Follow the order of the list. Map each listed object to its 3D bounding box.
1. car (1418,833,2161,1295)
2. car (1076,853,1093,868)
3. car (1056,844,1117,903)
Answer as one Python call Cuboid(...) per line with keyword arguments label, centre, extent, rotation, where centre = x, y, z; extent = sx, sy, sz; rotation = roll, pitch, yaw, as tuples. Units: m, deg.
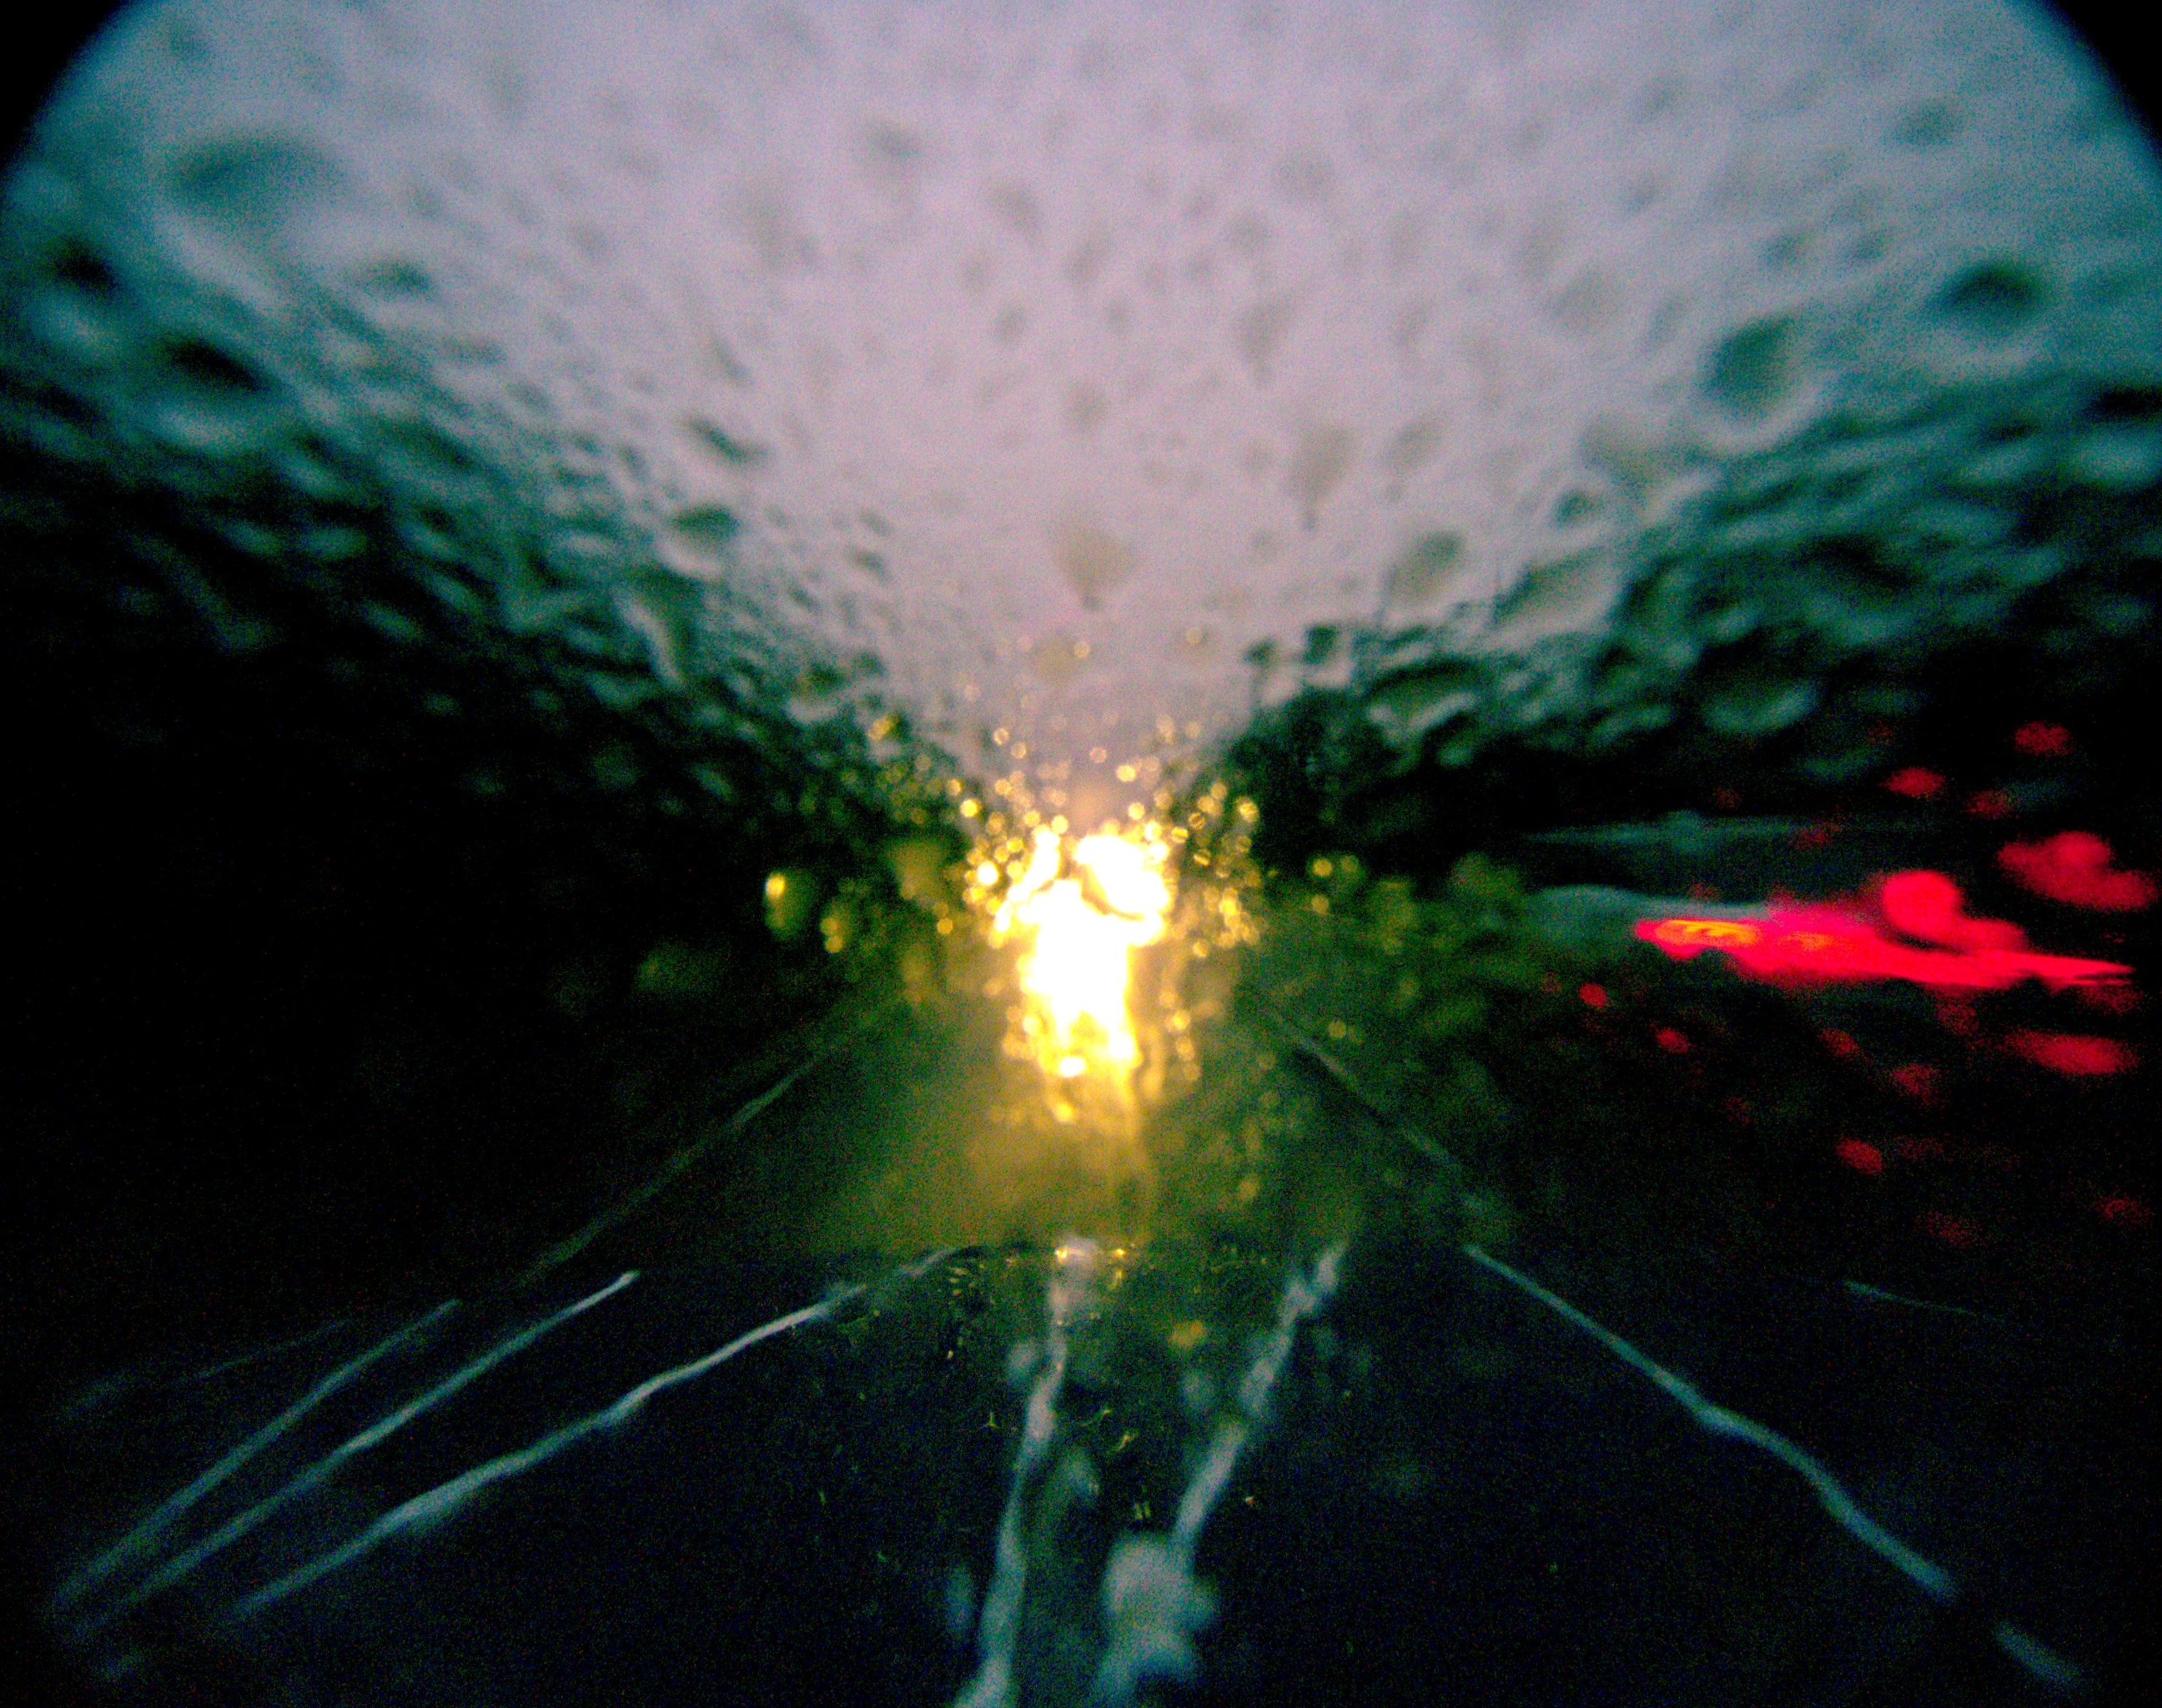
Cuboid(label="car", centre=(3.991, 0.727, 4.765), extent=(1.877, 1.597, 4.195), rotation=(-2, 0, 0))
Cuboid(label="car", centre=(0.494, 0.752, 95.693), extent=(1.998, 1.752, 4.371), rotation=(-2, 1, 1))
Cuboid(label="car", centre=(0.245, 0.562, 24.421), extent=(1.572, 1.701, 4.001), rotation=(-2, 1, 5))
